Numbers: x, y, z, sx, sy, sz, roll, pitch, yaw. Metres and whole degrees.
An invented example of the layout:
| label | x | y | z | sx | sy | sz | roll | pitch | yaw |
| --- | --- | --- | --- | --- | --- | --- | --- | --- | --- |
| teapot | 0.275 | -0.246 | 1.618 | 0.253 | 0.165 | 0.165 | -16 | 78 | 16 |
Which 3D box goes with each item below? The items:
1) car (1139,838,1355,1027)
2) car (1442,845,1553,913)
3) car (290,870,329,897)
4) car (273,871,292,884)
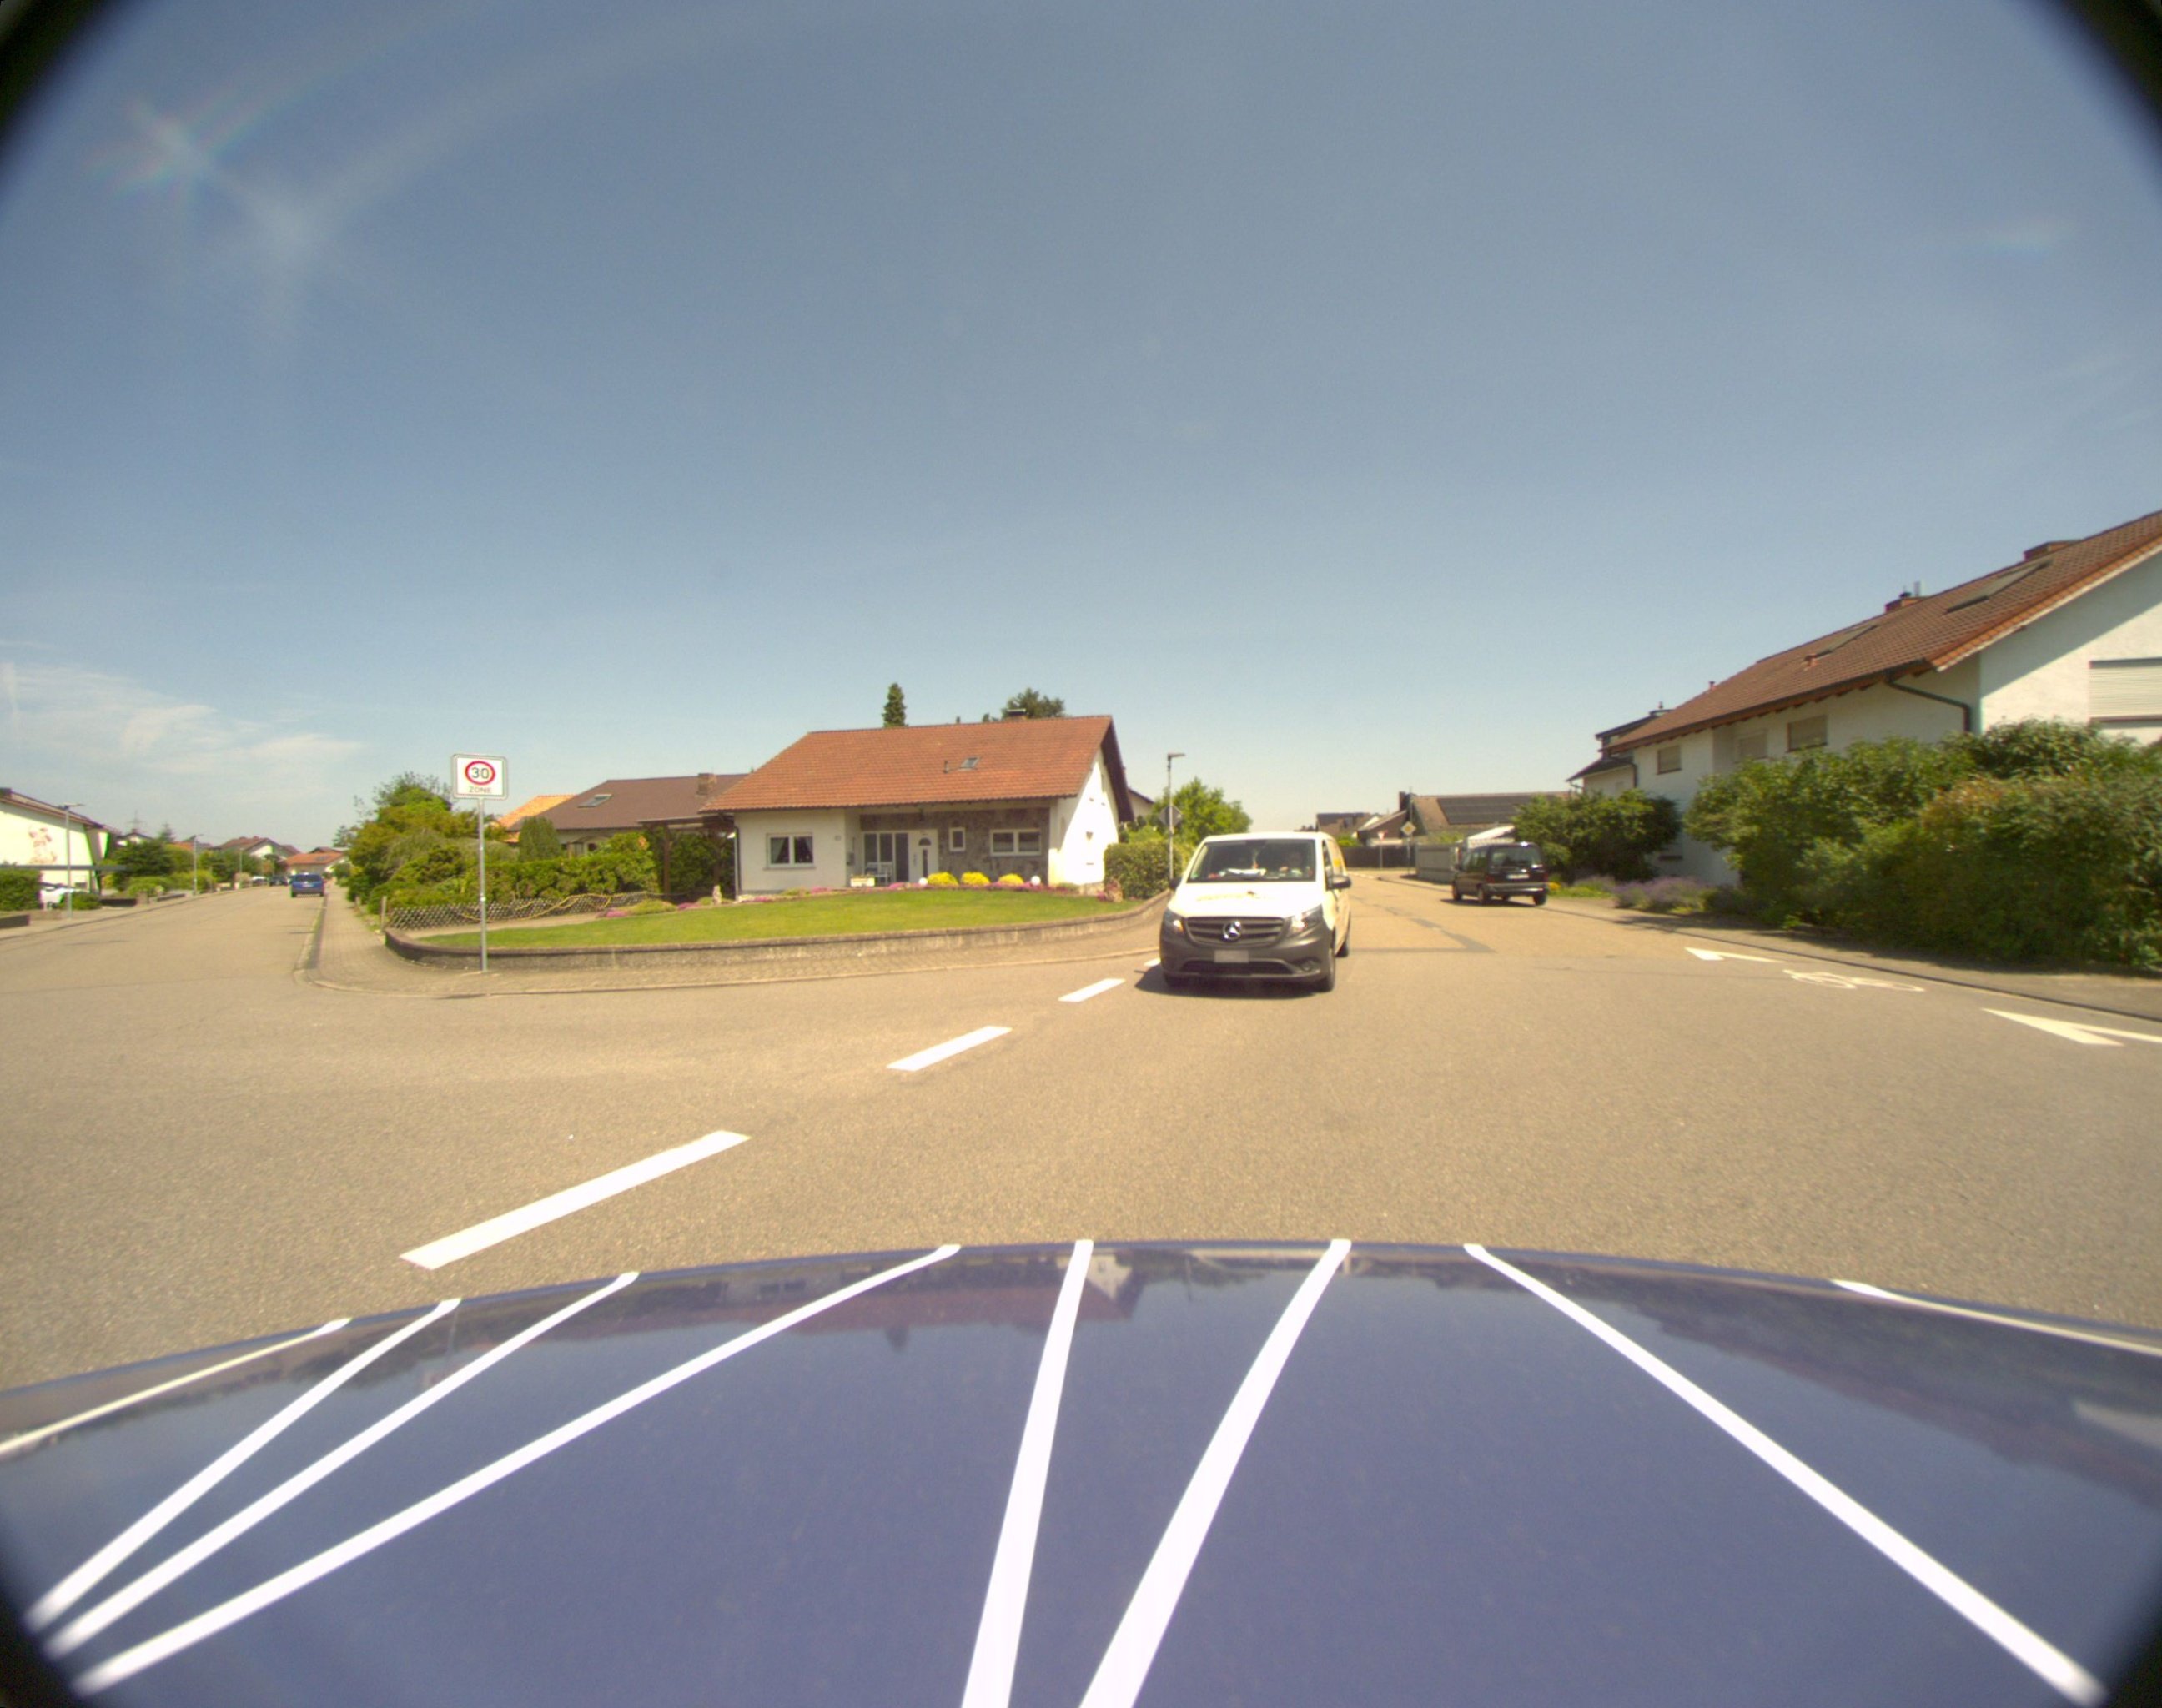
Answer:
| label | x | y | z | sx | sy | sz | roll | pitch | yaw |
| --- | --- | --- | --- | --- | --- | --- | --- | --- | --- |
| car | 2.496 | 0.739 | 10.105 | 2.015 | 1.846 | 5.075 | -1 | 1 | 21 |
| car | 12.318 | 0.678 | 22.762 | 1.721 | 1.835 | 4.057 | -1 | 0 | 11 |
| car | -57.951 | 2.151 | 57.112 | 1.832 | 1.871 | 3.989 | -2 | 1 | -43 |
| car | -126.551 | 3.757 | 120.345 | 3.988 | 1.914 | 1.880 | -1 | 1 | 41 |
